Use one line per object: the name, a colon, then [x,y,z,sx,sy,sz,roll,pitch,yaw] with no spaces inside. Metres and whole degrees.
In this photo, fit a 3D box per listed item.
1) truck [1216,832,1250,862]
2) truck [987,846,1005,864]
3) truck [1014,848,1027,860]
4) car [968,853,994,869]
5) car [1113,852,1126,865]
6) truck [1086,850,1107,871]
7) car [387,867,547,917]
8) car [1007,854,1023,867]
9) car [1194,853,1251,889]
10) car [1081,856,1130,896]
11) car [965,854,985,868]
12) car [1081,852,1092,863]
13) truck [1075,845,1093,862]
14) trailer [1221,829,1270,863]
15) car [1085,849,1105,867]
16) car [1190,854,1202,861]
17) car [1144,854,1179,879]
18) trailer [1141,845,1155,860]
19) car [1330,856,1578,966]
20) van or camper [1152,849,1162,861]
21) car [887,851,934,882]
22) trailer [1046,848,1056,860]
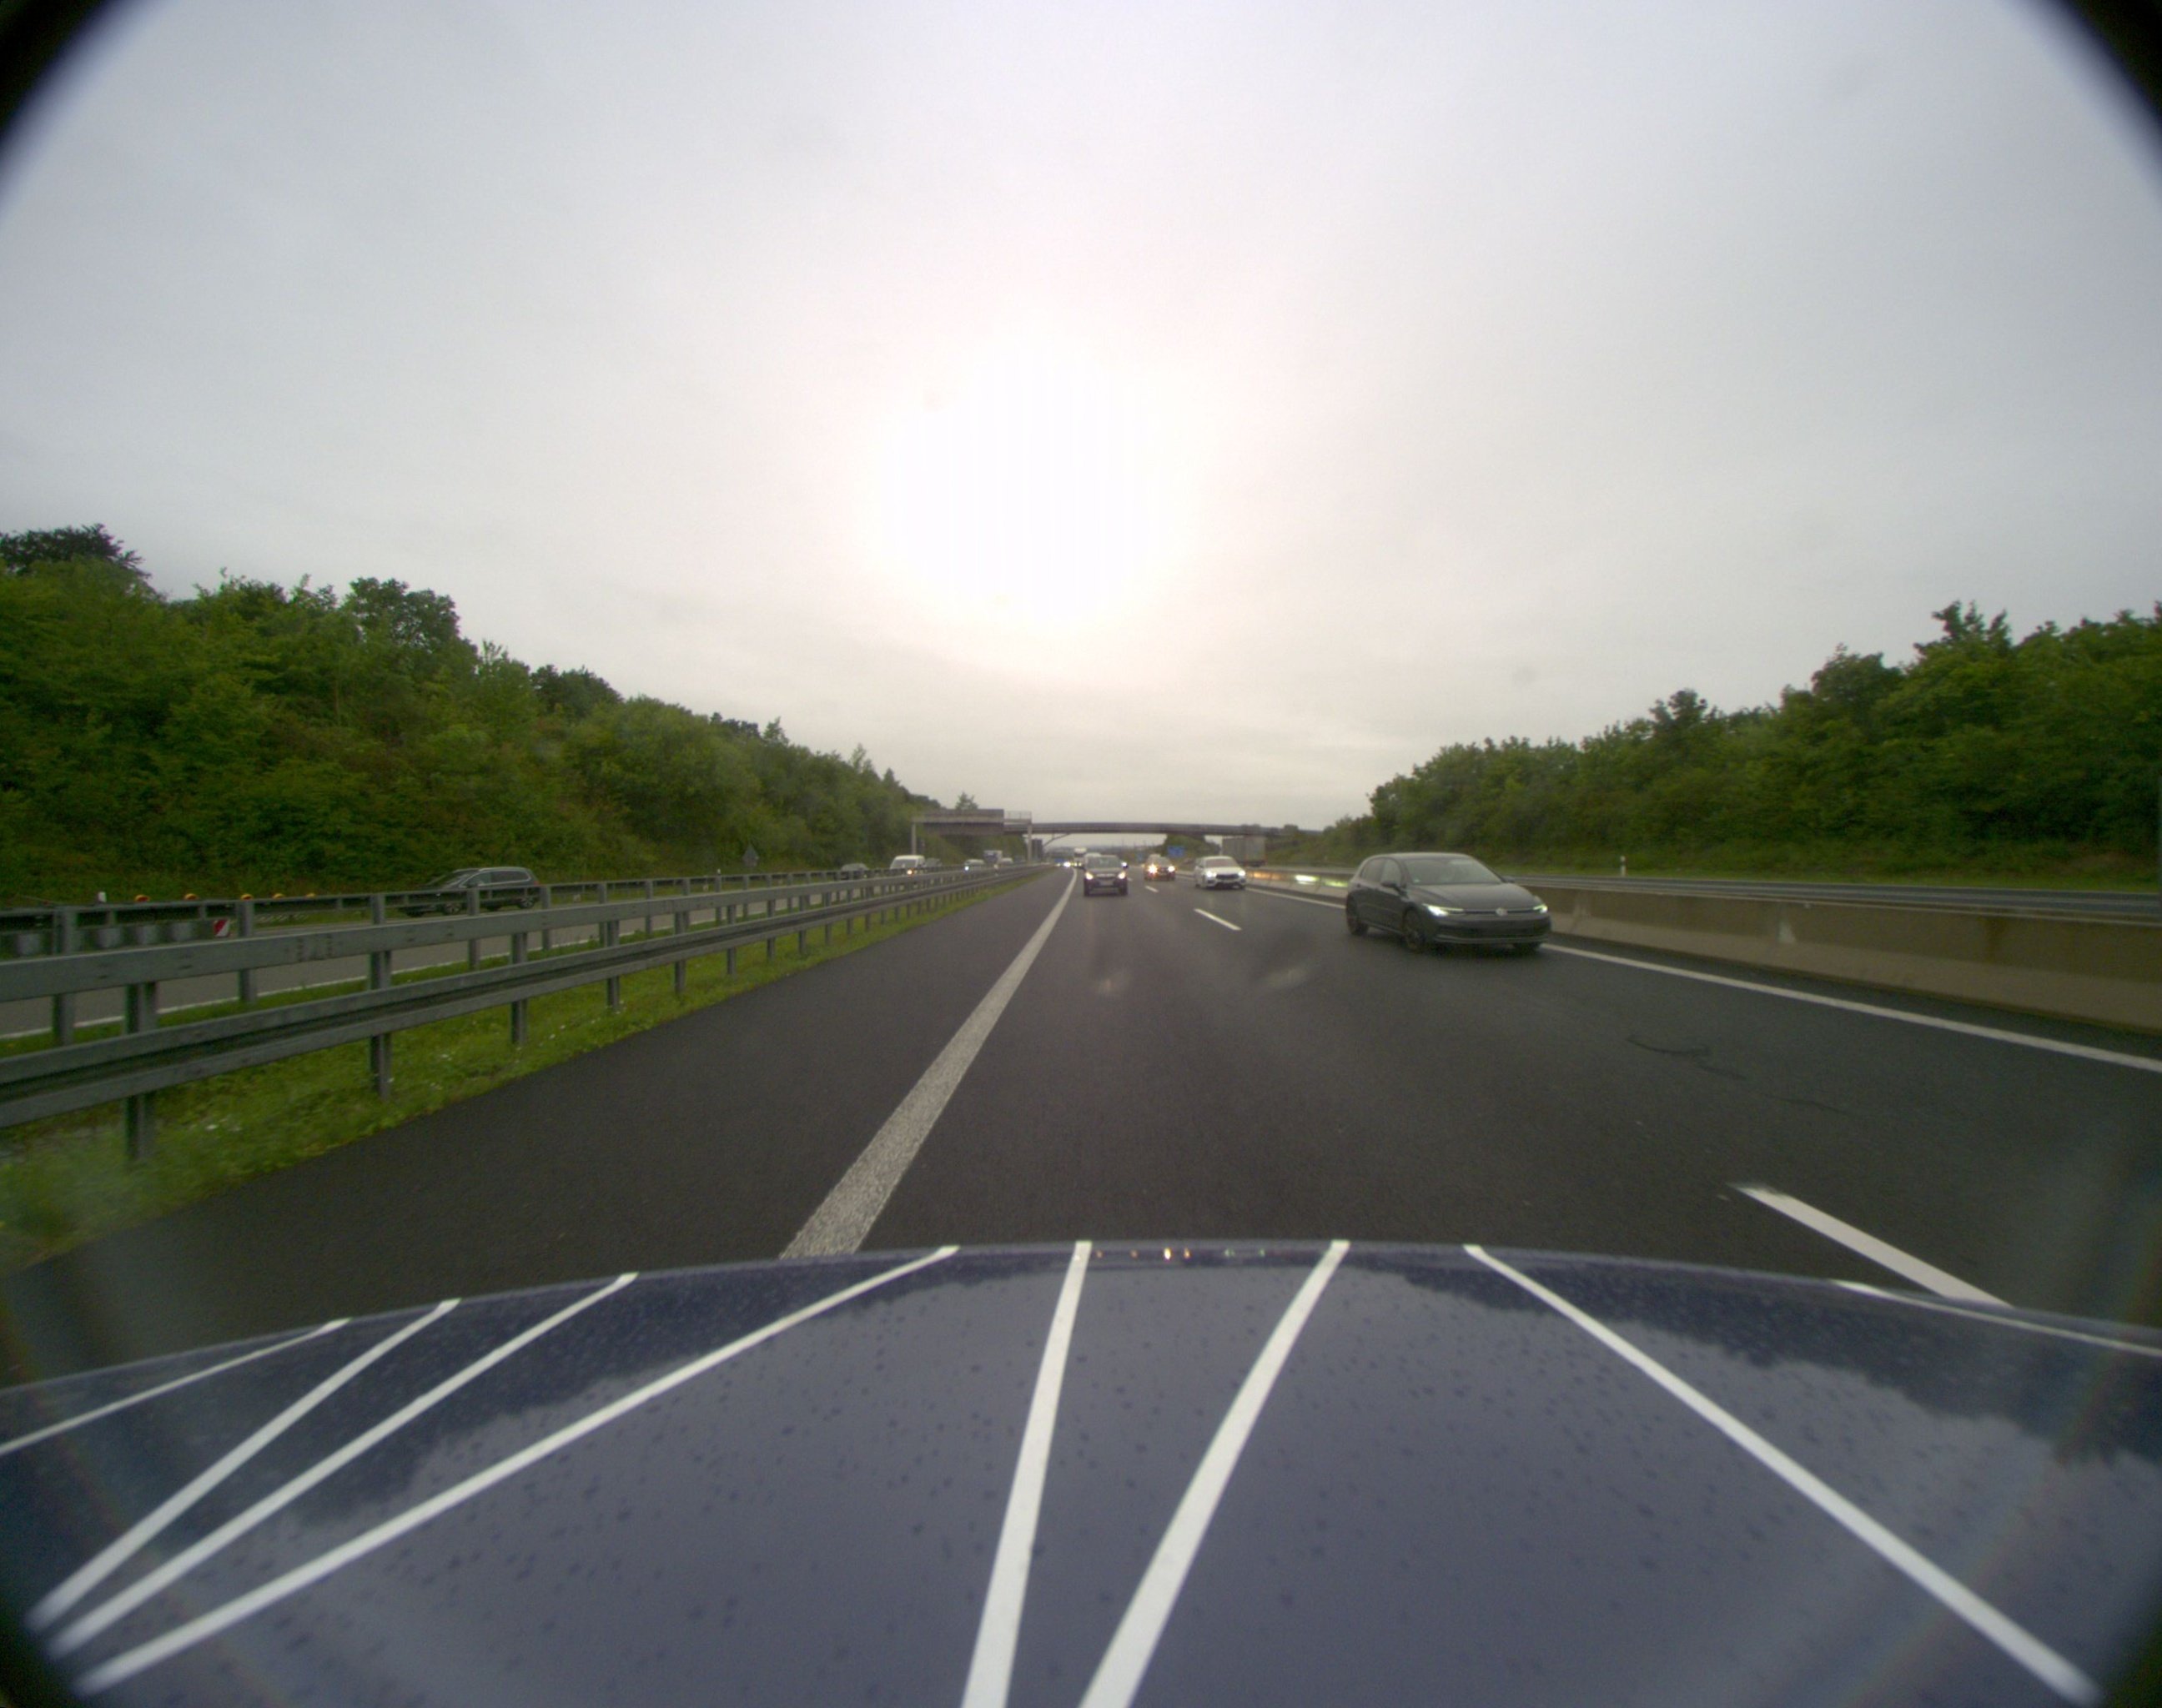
truck: [21.105,-0.944,105.740,3.268,4.059,7.441,-1,0,0]
truck: [-16.801,0.113,150.362,2.909,3.397,9.279,-1,0,-2]
truck: [-17.534,-0.005,220.863,2.909,3.397,13.351,-1,0,-1]
car: [-10.489,0.731,80.008,2.013,1.539,4.695,-1,0,0]
car: [5.688,0.651,111.878,1.715,1.724,4.000,-1,0,1]
truck: [1.722,0.722,84.806,2.175,2.214,5.642,-1,0,0]
car: [-22.256,1.329,27.786,1.862,1.573,4.245,-1,0,15]
car: [-10.197,1.004,117.679,2.013,1.804,4.276,-1,0,1]
car: [6.340,0.722,34.462,1.905,1.497,4.114,-1,0,2]
car: [1.099,0.871,31.977,1.905,1.497,4.115,-1,0,3]
car: [-14.296,0.965,102.425,2.013,1.804,4.276,-1,0,1]
car: [0.944,0.559,125.241,1.715,1.724,4.000,-1,0,1]
truck: [0.546,-0.188,155.422,3.154,3.332,13.097,-1,0,-2]
trailer: [21.050,-0.941,98.199,3.268,4.059,13.844,-1,0,0]
car: [1.503,0.392,77.952,1.825,1.669,4.001,-1,0,4]
car: [22.321,0.593,147.071,1.693,1.286,3.923,-1,0,0]
car: [5.170,0.767,49.230,1.905,1.497,4.114,-1,0,1]
trailer: [19.994,-0.441,228.573,2.797,4.059,13.524,-1,0,-1]
car: [5.671,0.766,12.294,1.905,1.397,4.459,-1,0,2]
van or camper: [16.532,0.241,165.343,1.799,2.455,5.547,-1,0,1]
car: [-10.695,0.741,48.011,1.864,1.794,4.647,-1,0,0]
trailer: [-9.767,-0.011,246.269,2.547,3.799,11.330,-1,0,0]
